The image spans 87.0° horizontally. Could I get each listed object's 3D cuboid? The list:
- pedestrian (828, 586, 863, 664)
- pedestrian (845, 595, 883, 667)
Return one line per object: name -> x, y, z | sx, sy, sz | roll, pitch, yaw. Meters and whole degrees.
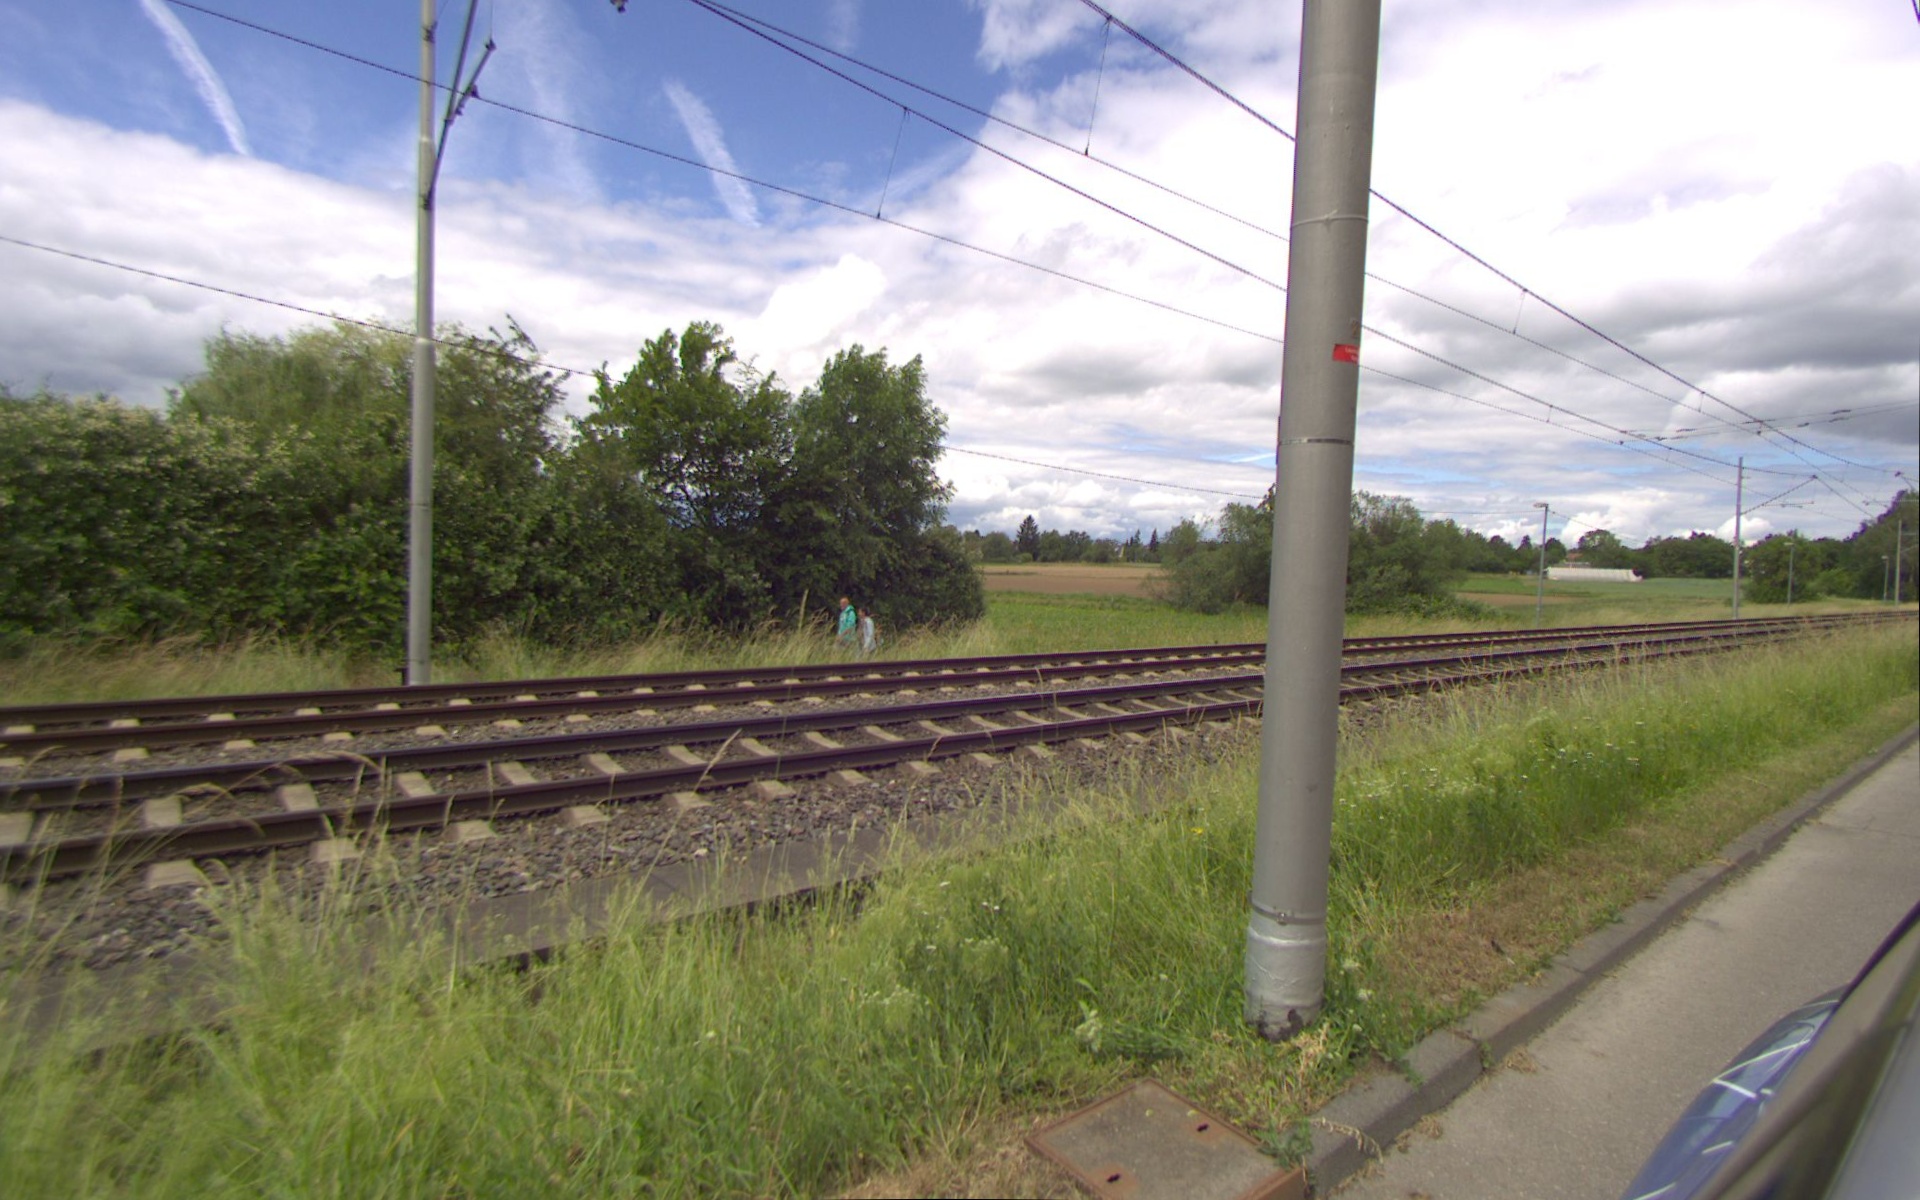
pedestrian -> -2.478, 0.529, 21.958 | 0.572, 1.642, 0.619 | 0, 0, -26
pedestrian -> -1.992, 0.627, 20.970 | 0.652, 1.448, 0.601 | 0, 0, -20
